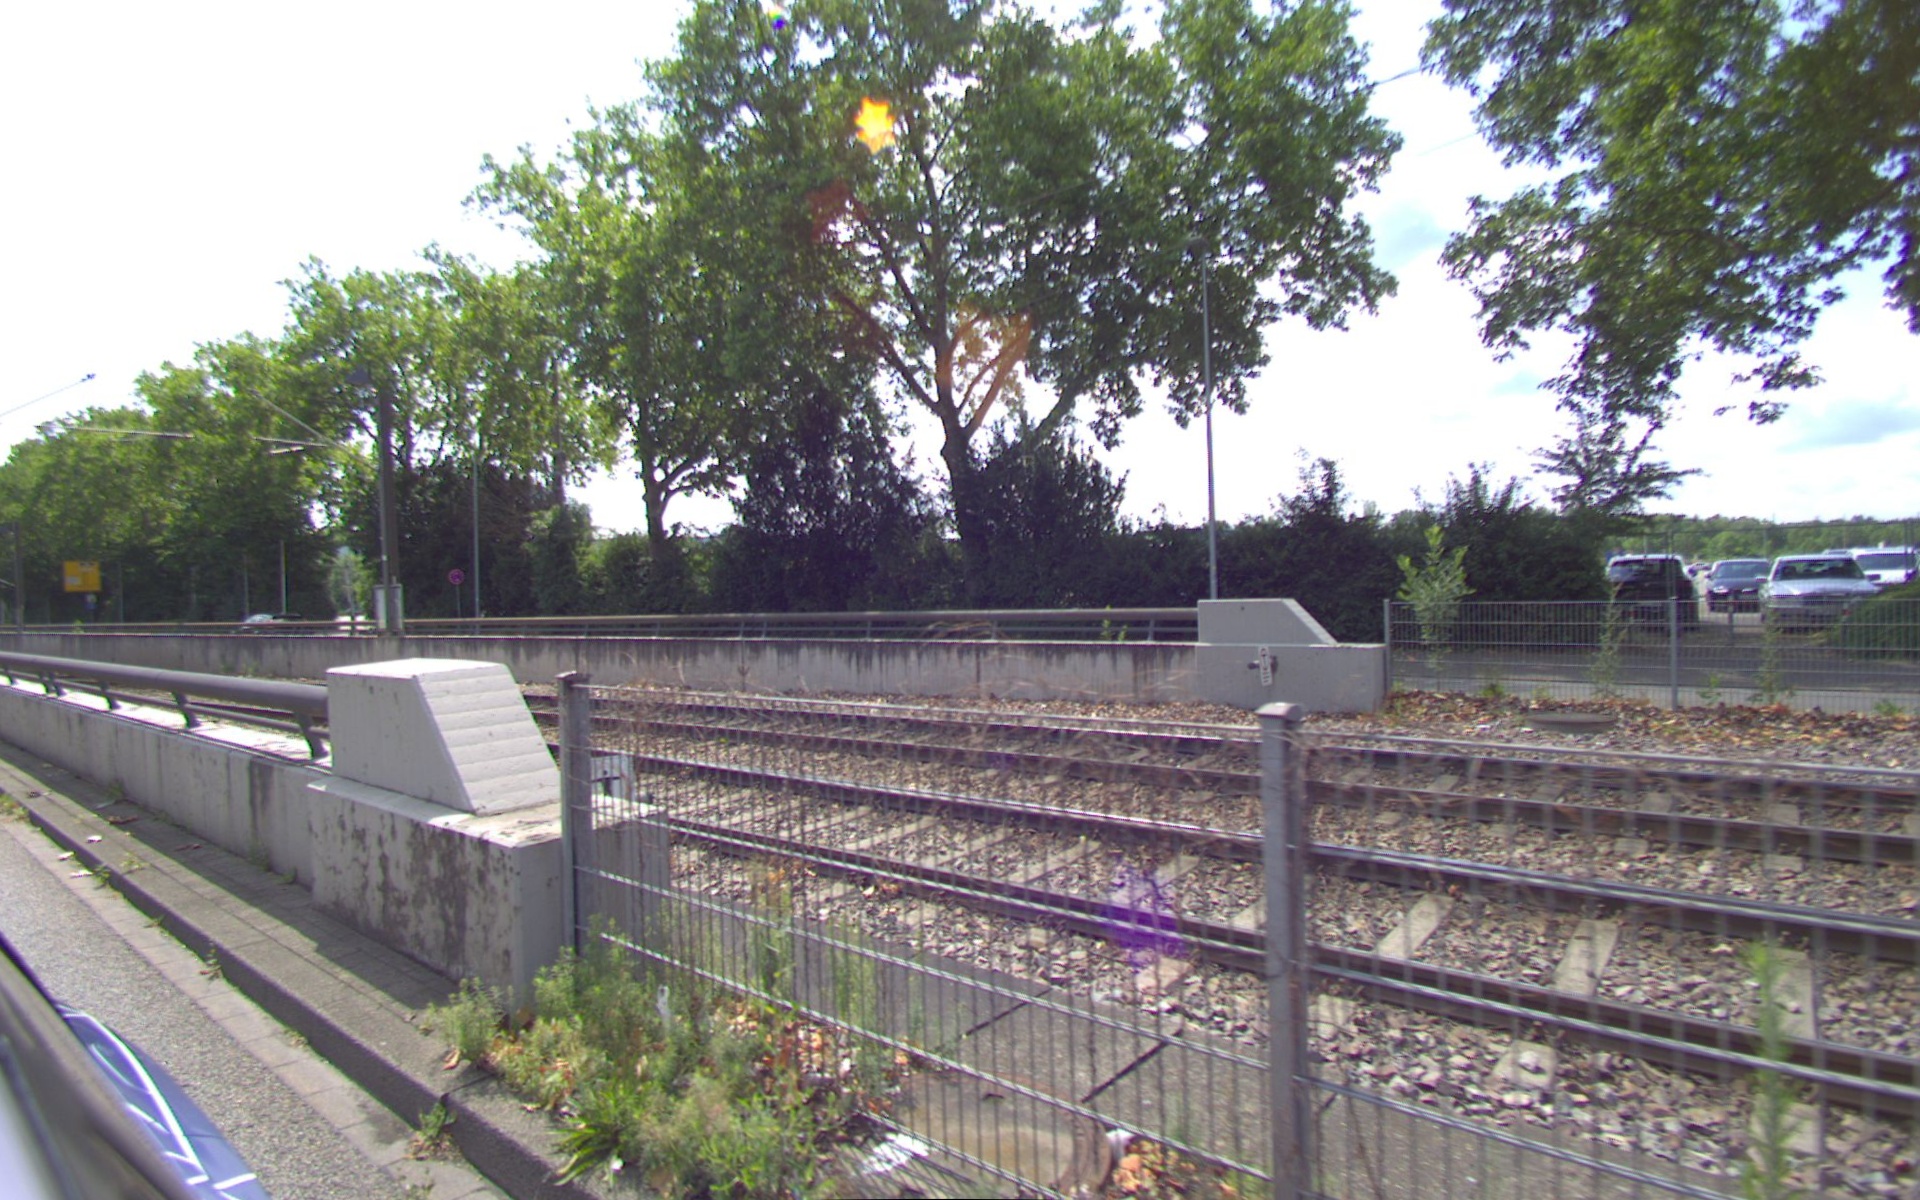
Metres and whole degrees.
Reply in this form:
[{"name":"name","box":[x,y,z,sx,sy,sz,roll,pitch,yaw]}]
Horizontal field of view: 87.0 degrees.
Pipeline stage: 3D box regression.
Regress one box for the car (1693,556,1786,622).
[{"name":"car","box":[22.805,-0.323,29.557,1.998,1.785,3.947,-2,0,40]}]

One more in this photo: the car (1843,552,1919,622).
[{"name":"car","box":[25.579,-0.361,27.673,1.998,1.785,3.947,-2,0,40]}]

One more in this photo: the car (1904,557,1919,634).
[{"name":"car","box":[19.587,-0.120,19.319,1.998,1.453,3.947,-2,0,40]}]

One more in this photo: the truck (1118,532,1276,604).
[{"name":"truck","box":[10.676,-1.266,44.811,2.707,2.814,8.734,-2,-1,44]}]

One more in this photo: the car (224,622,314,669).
[{"name":"car","box":[-25.866,1.695,37.815,4.293,1.609,1.650,-2,-1,39]}]

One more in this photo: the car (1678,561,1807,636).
[{"name":"car","box":[16.872,-0.048,21.784,1.998,1.453,3.947,-2,0,40]}]
